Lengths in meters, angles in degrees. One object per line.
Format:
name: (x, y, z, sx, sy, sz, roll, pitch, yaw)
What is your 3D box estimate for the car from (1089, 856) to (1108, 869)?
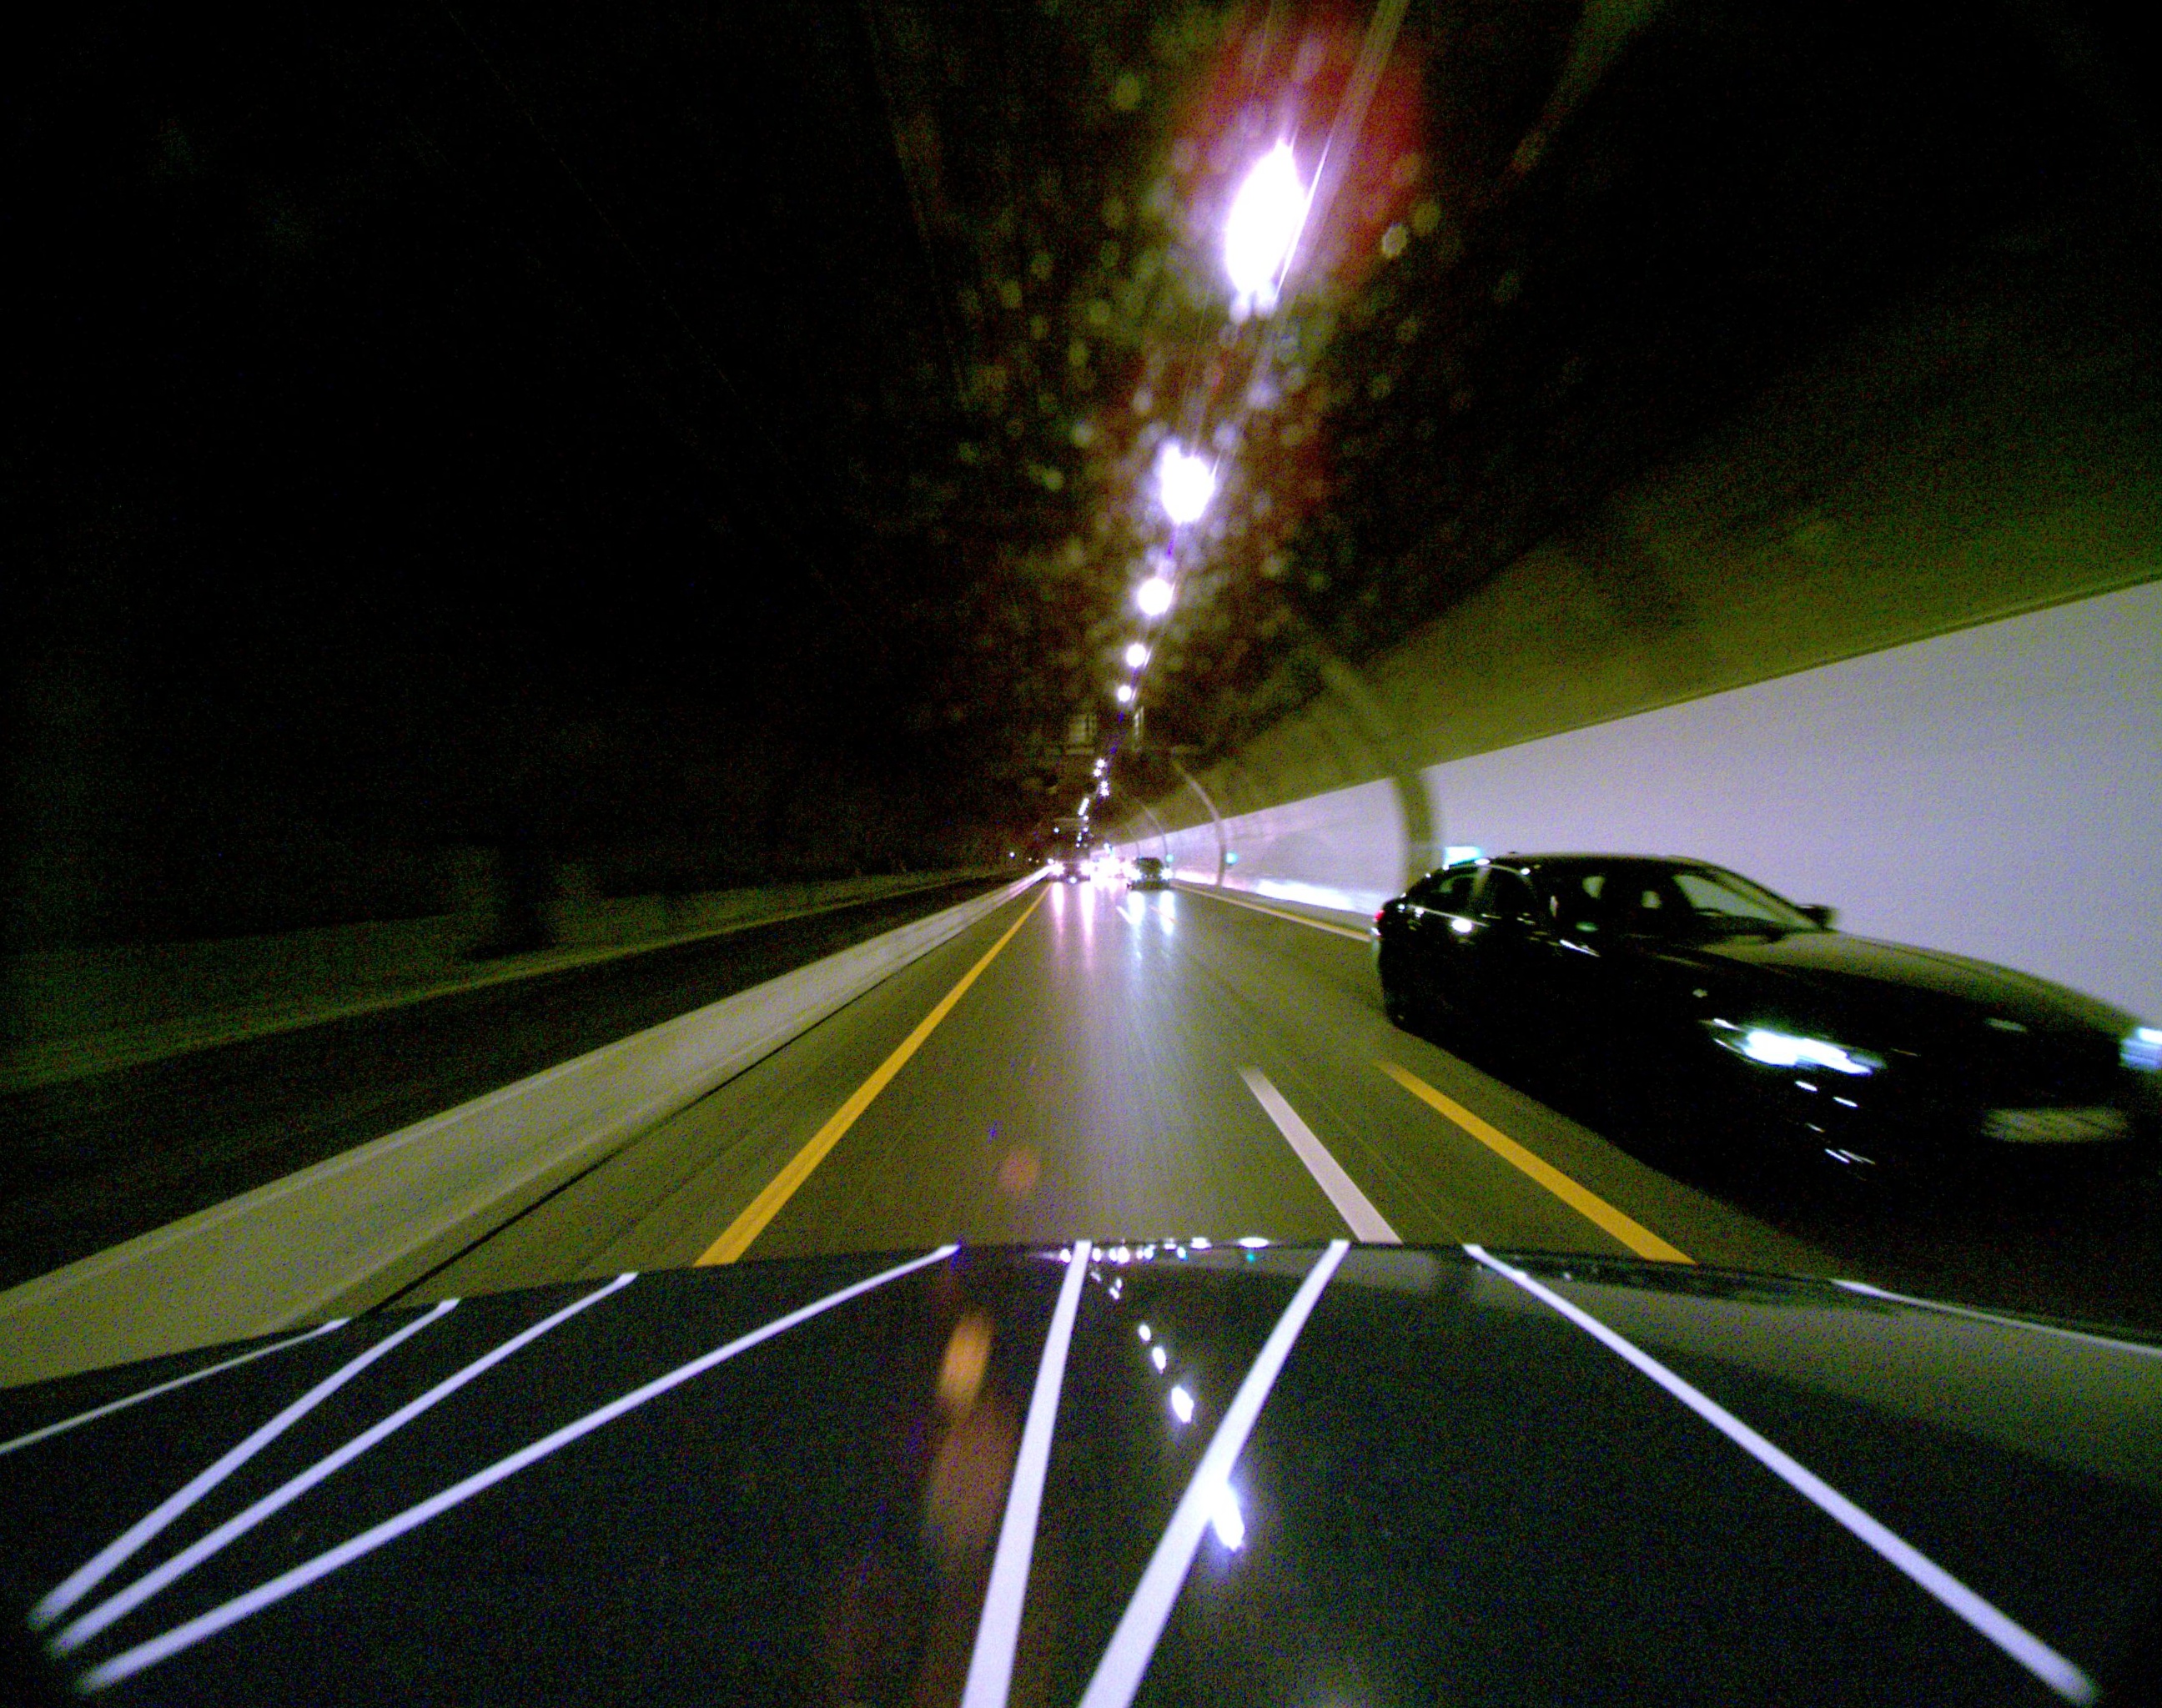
car: (2.028, 0.965, 89.397, 1.909, 1.412, 4.060, -2, 0, -1)

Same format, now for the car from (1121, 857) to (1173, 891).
car: (3.040, 0.897, 35.832, 1.783, 1.430, 4.881, -2, 0, -2)

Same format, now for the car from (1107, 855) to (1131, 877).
car: (2.781, 0.853, 55.918, 1.531, 1.508, 2.651, -2, 0, 0)

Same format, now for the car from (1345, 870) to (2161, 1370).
car: (3.440, 0.910, 4.879, 1.782, 1.430, 4.882, -2, 0, 1)

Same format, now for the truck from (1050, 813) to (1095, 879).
truck: (-0.528, -0.529, 52.455, 2.742, 4.127, 8.099, -2, 0, 0)
